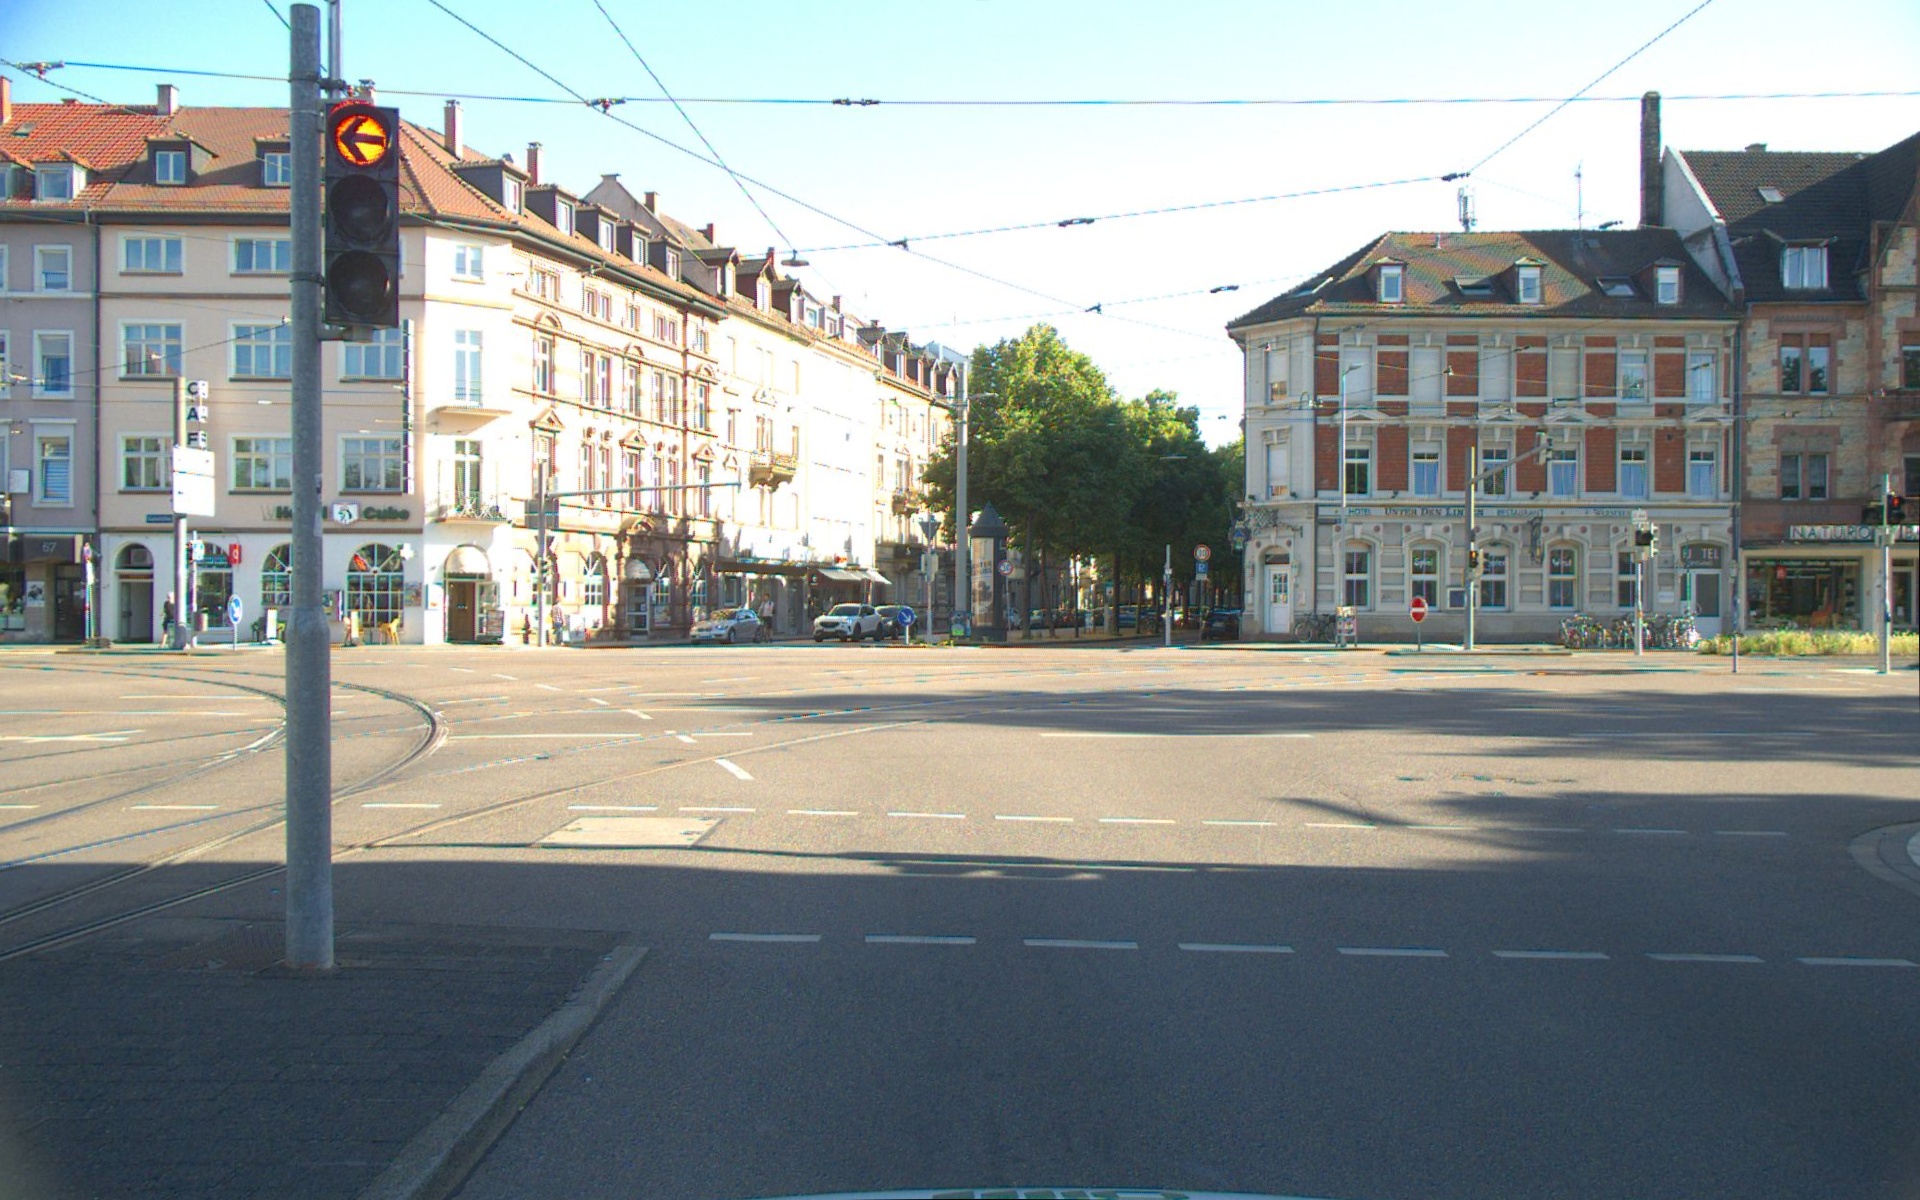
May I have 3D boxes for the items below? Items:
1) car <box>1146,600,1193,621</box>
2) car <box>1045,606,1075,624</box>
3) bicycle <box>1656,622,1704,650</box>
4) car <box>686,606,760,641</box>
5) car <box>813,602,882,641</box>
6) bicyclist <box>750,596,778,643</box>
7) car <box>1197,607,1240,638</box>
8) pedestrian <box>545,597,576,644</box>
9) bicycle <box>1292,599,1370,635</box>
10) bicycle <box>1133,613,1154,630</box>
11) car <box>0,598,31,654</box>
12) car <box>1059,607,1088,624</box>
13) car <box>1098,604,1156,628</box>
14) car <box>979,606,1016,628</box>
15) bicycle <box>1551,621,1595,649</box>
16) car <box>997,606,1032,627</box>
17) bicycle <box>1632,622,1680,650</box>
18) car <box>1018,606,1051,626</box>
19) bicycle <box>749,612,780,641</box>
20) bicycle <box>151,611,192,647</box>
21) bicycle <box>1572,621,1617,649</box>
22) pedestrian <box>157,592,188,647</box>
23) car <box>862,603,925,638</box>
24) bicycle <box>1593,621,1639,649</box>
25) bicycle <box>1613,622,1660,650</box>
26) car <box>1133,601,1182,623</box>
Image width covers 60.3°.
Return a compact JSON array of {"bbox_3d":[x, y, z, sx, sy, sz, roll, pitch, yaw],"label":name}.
[{"bbox_3d":[16.948,0.874,133.743,3.503,1.677,1.684,0,0,16],"label":"car"},{"bbox_3d":[7.899,1.204,130.841,1.642,1.378,3.593,0,0,16],"label":"car"},{"bbox_3d":[23.282,1.166,53.524,0.645,0.855,2.160,1,0,1],"label":"bicycle"},{"bbox_3d":[-9.537,0.928,66.743,1.642,1.378,3.593,0,0,16],"label":"car"},{"bbox_3d":[-4.532,0.838,67.225,1.642,1.509,3.774,0,0,16],"label":"car"},{"bbox_3d":[-7.711,0.761,65.002,0.761,1.834,1.056,1,-1,13],"label":"bicyclist"},{"bbox_3d":[12.963,1.100,82.746,1.642,1.509,3.950,0,0,16],"label":"car"},{"bbox_3d":[-14.511,0.735,60.072,0.759,1.699,0.831,1,-1,15],"label":"pedestrian"},{"bbox_3d":[12.870,0.586,57.455,2.504,1.194,0.818,1,-1,-4],"label":"bicycle"},{"bbox_3d":[11.057,1.288,99.624,0.625,1.039,1.840,1,0,-14],"label":"bicycle"},{"bbox_3d":[-32.149,0.786,52.256,4.276,1.741,2.306,1,0,1],"label":"car"},{"bbox_3d":[9.324,1.240,135.893,1.642,1.378,3.593,0,0,16],"label":"car"},{"bbox_3d":[11.720,1.107,115.831,3.819,1.677,1.684,0,0,16],"label":"car"},{"bbox_3d":[2.570,1.130,111.337,1.642,1.378,3.593,0,0,16],"label":"car"},{"bbox_3d":[19.764,1.105,53.364,0.645,0.855,2.160,1,0,1],"label":"bicycle"},{"bbox_3d":[3.828,1.149,115.512,1.642,1.378,3.593,0,0,16],"label":"car"},{"bbox_3d":[22.494,1.152,53.478,0.645,0.855,2.160,1,0,1],"label":"bicycle"},{"bbox_3d":[5.539,1.177,122.500,1.642,1.378,3.593,0,0,16],"label":"car"},{"bbox_3d":[-7.677,1.042,65.125,0.687,1.137,1.636,1,0,13],"label":"bicycle"},{"bbox_3d":[-24.704,0.899,51.817,0.561,1.096,1.497,1,0,-1],"label":"bicycle"},{"bbox_3d":[20.484,1.118,53.452,0.645,0.855,2.160,1,0,1],"label":"bicycle"},{"bbox_3d":[-24.701,0.600,51.896,0.570,1.699,0.752,1,-1,-1],"label":"pedestrian"},{"bbox_3d":[-2.944,0.882,73.550,1.642,1.509,3.950,0,0,16],"label":"car"},{"bbox_3d":[21.195,1.130,53.465,0.645,0.855,2.160,1,0,1],"label":"bicycle"},{"bbox_3d":[21.866,1.141,53.499,0.645,0.855,2.160,1,0,1],"label":"bicycle"},{"bbox_3d":[15.326,0.949,128.244,3.503,1.677,1.684,0,0,16],"label":"car"}]
